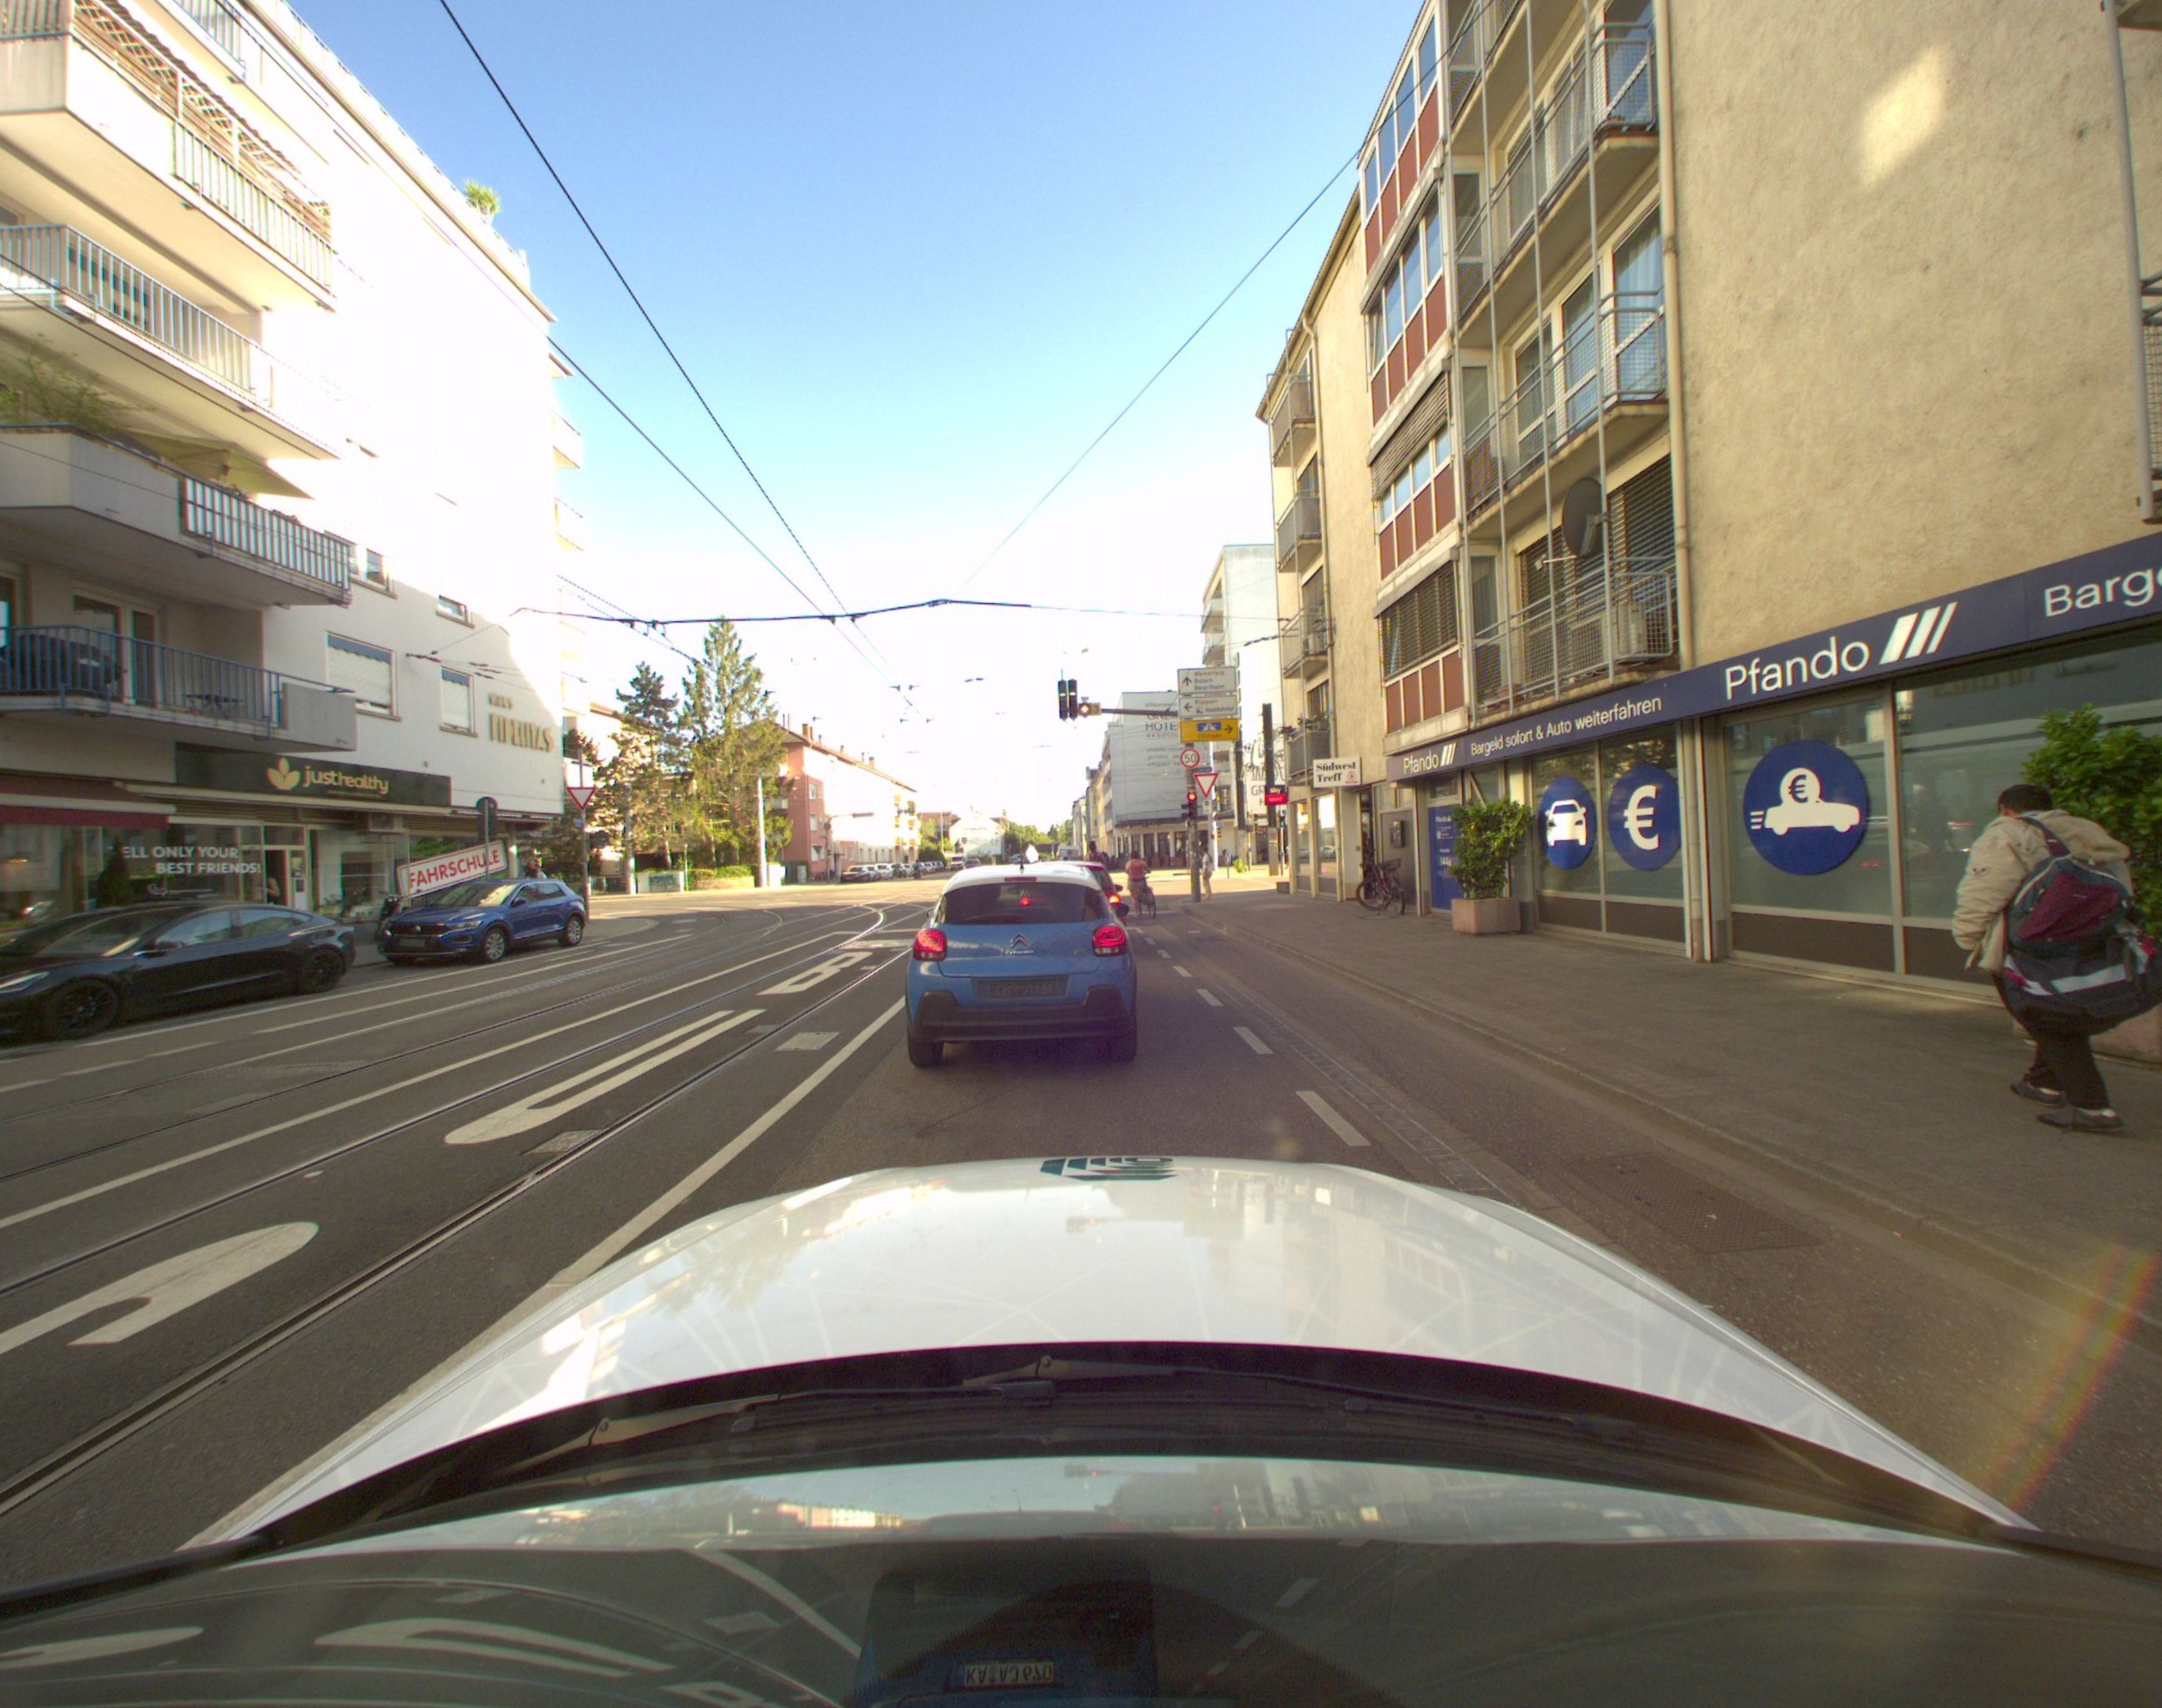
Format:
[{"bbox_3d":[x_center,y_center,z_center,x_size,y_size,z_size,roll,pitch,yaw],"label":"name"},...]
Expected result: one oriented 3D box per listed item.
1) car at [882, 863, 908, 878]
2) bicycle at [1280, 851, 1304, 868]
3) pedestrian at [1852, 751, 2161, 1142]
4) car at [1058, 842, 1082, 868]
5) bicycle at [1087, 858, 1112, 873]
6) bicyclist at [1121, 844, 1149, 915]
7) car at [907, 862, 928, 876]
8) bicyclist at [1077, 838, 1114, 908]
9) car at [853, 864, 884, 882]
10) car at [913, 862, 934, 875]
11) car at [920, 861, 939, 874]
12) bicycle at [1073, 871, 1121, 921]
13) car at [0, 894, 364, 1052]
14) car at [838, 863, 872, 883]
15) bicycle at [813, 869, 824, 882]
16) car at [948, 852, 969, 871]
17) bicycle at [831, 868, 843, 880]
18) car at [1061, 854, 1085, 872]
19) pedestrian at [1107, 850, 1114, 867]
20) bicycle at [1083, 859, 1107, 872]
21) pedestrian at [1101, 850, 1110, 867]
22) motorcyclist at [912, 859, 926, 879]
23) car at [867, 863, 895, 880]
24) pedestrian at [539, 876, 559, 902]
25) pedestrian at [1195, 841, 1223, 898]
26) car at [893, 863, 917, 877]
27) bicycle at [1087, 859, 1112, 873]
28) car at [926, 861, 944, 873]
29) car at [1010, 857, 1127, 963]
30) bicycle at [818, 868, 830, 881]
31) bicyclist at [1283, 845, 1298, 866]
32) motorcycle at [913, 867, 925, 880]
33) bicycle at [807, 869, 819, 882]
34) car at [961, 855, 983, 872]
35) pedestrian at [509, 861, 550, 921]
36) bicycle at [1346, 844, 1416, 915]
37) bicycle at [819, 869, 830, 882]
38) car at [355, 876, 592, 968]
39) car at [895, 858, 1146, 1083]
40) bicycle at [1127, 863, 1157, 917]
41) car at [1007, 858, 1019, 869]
[{"bbox_3d":[-19.729,1.739,86.527,1.947,1.519,3.995,-2,0,-4],"label":"car"},{"bbox_3d":[14.705,0.368,56.788,1.474,1.091,0.609,-3,0,39],"label":"bicycle"},{"bbox_3d":[4.470,0.357,3.779,0.871,1.571,0.868,-4,0,-1],"label":"pedestrian"},{"bbox_3d":[-1.038,0.087,73.445,2.074,2.269,5.647,-1,0,-2],"label":"car"},{"bbox_3d":[1.517,0.931,65.933,1.901,1.064,0.641,-2,0,-6],"label":"bicycle"},{"bbox_3d":[1.368,0.633,20.691,0.598,1.746,1.084,-2,0,2],"label":"bicyclist"},{"bbox_3d":[-19.850,1.785,99.023,1.947,1.519,3.995,-2,0,-4],"label":"car"},{"bbox_3d":[0.344,0.450,19.685,0.618,1.630,0.755,-2,0,-16],"label":"bicyclist"},{"bbox_3d":[-19.570,1.718,75.242,1.947,1.519,4.040,-2,0,-4],"label":"car"},{"bbox_3d":[-20.096,1.801,104.037,1.947,1.519,3.995,-2,0,-4],"label":"car"},{"bbox_3d":[-20.296,1.773,109.326,1.947,1.519,3.995,-2,0,-4],"label":"car"},{"bbox_3d":[0.361,0.989,19.701,0.618,1.103,1.876,-2,0,-16],"label":"bicycle"},{"bbox_3d":[-11.984,1.330,10.421,1.720,1.403,4.486,0,0,-2],"label":"car"},{"bbox_3d":[-19.290,1.600,69.618,1.947,1.519,3.995,-2,0,-4],"label":"car"},{"bbox_3d":[-21.974,1.794,68.186,0.537,1.082,1.905,-2,0,-9],"label":"bicycle"},{"bbox_3d":[-18.125,1.104,120.574,2.489,2.712,5.828,-2,0,-5],"label":"car"},{"bbox_3d":[-22.716,1.860,75.801,0.608,1.082,1.908,-2,0,-4],"label":"bicycle"},{"bbox_3d":[-0.715,0.742,67.984,1.783,1.359,3.909,-2,0,-4],"label":"car"},{"bbox_3d":[2.524,0.380,70.116,0.467,1.420,0.524,-2,0,-11],"label":"pedestrian"},{"bbox_3d":[1.160,0.954,68.442,1.901,1.064,0.641,-2,0,-6],"label":"bicycle"},{"bbox_3d":[2.104,0.397,70.377,0.520,1.420,0.550,-3,0,22],"label":"pedestrian"},{"bbox_3d":[-13.474,1.269,67.692,0.990,1.631,0.737,-2,0,-7],"label":"motorcyclist"},{"bbox_3d":[-19.559,1.684,79.854,1.947,1.519,3.995,-2,0,-4],"label":"car"},{"bbox_3d":[-36.466,2.389,55.833,0.805,1.702,0.681,-2,0,1],"label":"pedestrian"},{"bbox_3d":[3.830,0.454,24.348,0.747,1.635,0.742,-2,0,7],"label":"pedestrian"},{"bbox_3d":[-19.980,1.790,92.594,1.947,1.519,3.995,-2,0,-4],"label":"car"},{"bbox_3d":[1.526,0.961,67.240,1.901,1.064,0.641,-2,0,-6],"label":"bicycle"},{"bbox_3d":[-20.724,1.852,115.682,1.947,1.519,3.995,-2,0,-4],"label":"car"},{"bbox_3d":[-0.227,0.810,13.706,1.675,1.462,3.997,-1,0,-2],"label":"car"},{"bbox_3d":[-23.049,1.842,73.105,0.536,1.082,1.908,-2,0,-4],"label":"bicycle"},{"bbox_3d":[14.623,0.082,56.833,0.720,1.434,0.609,-3,0,39],"label":"bicyclist"},{"bbox_3d":[-13.483,1.597,67.759,0.751,0.976,2.092,-2,0,-7],"label":"motorcycle"},{"bbox_3d":[-22.380,1.793,68.076,0.640,1.082,1.905,-2,0,-9],"label":"bicycle"},{"bbox_3d":[-11.516,0.953,86.501,2.002,1.627,5.044,-2,0,-5],"label":"car"},{"bbox_3d":[-17.432,1.171,25.748,0.761,1.834,0.725,-3,0,28],"label":"pedestrian"},{"bbox_3d":[5.758,0.457,15.737,0.637,1.264,1.911,-2,0,2],"label":"bicycle"},{"bbox_3d":[-21.595,1.793,68.471,0.537,1.082,1.905,-2,0,-9],"label":"bicycle"},{"bbox_3d":[-11.879,1.243,16.324,1.720,1.505,4.113,0,0,-2],"label":"car"},{"bbox_3d":[-0.453,0.790,7.497,1.675,1.462,3.997,-1,0,-2],"label":"car"},{"bbox_3d":[1.532,0.887,20.725,0.611,1.264,1.911,-2,0,2],"label":"bicycle"},{"bbox_3d":[-14.263,1.981,171.409,2.333,2.039,5.044,-2,0,-4],"label":"car"}]
